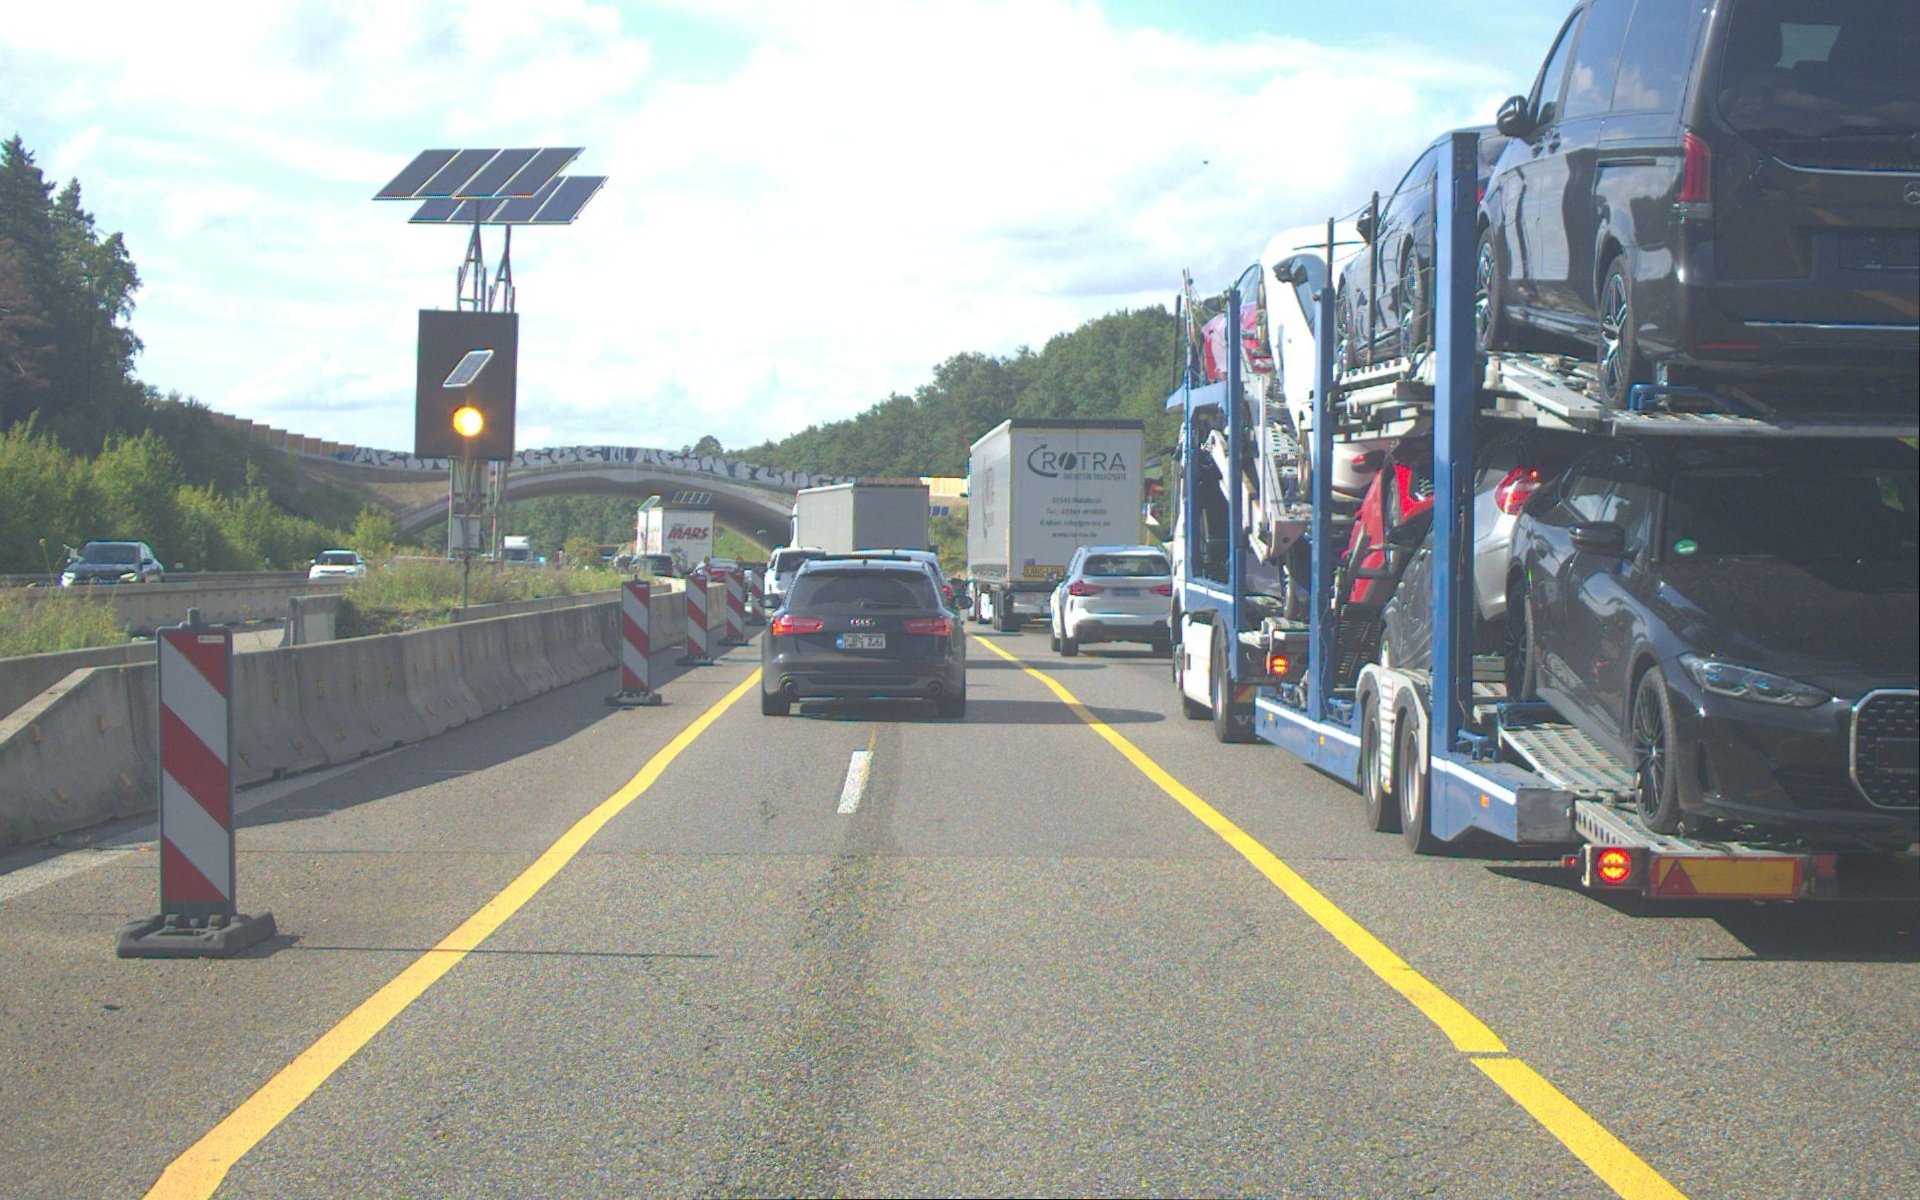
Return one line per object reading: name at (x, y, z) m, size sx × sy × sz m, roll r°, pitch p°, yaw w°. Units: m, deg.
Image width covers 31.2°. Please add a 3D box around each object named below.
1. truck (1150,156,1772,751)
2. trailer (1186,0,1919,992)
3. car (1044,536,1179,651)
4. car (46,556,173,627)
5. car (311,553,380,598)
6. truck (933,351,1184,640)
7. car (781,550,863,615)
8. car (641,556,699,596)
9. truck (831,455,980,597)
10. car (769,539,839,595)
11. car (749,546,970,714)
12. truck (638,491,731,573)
truck at (3.795, -1.087, 28.501) m, size 3.761 × 4.182 × 7.951 m, roll 1°, pitch 1°, yaw -1°
trailer at (3.925, -0.816, 20.048) m, size 3.726 × 4.182 × 16.228 m, roll 1°, pitch 1°, yaw -1°
car at (2.255, -0.118, 52.206) m, size 1.890 × 1.638 × 4.018 m, roll 1°, pitch 1°, yaw 1°
car at (-20.072, -0.221, 81.302) m, size 1.958 × 1.583 × 4.483 m, roll 1°, pitch 1°, yaw -1°
car at (-22.896, -0.918, 128.219) m, size 1.778 × 1.597 × 4.018 m, roll 1°, pitch 1°, yaw 1°
truck at (1.776, -2.039, 72.250) m, size 3.677 × 5.335 × 16.204 m, roll 1°, pitch 1°, yaw -4°
car at (-3.622, -0.476, 89.657) m, size 1.890 × 1.638 × 4.018 m, roll 1°, pitch 1°, yaw -5°
car at (-12.044, -0.991, 142.573) m, size 1.777 × 1.597 × 4.019 m, roll 1°, pitch 1°, yaw -13°
truck at (-1.994, -2.481, 117.983) m, size 4.318 × 4.584 × 11.127 m, roll 1°, pitch 1°, yaw -5°
car at (-4.716, -1.011, 103.757) m, size 1.890 × 1.638 × 4.018 m, roll 1°, pitch 1°, yaw -5°
car at (-0.876, 0.243, 32.099) m, size 1.890 × 1.441 × 4.000 m, roll 1°, pitch 1°, yaw 1°
truck at (-13.933, -3.370, 172.854) m, size 3.653 × 3.915 × 11.070 m, roll 1°, pitch 1°, yaw -10°
